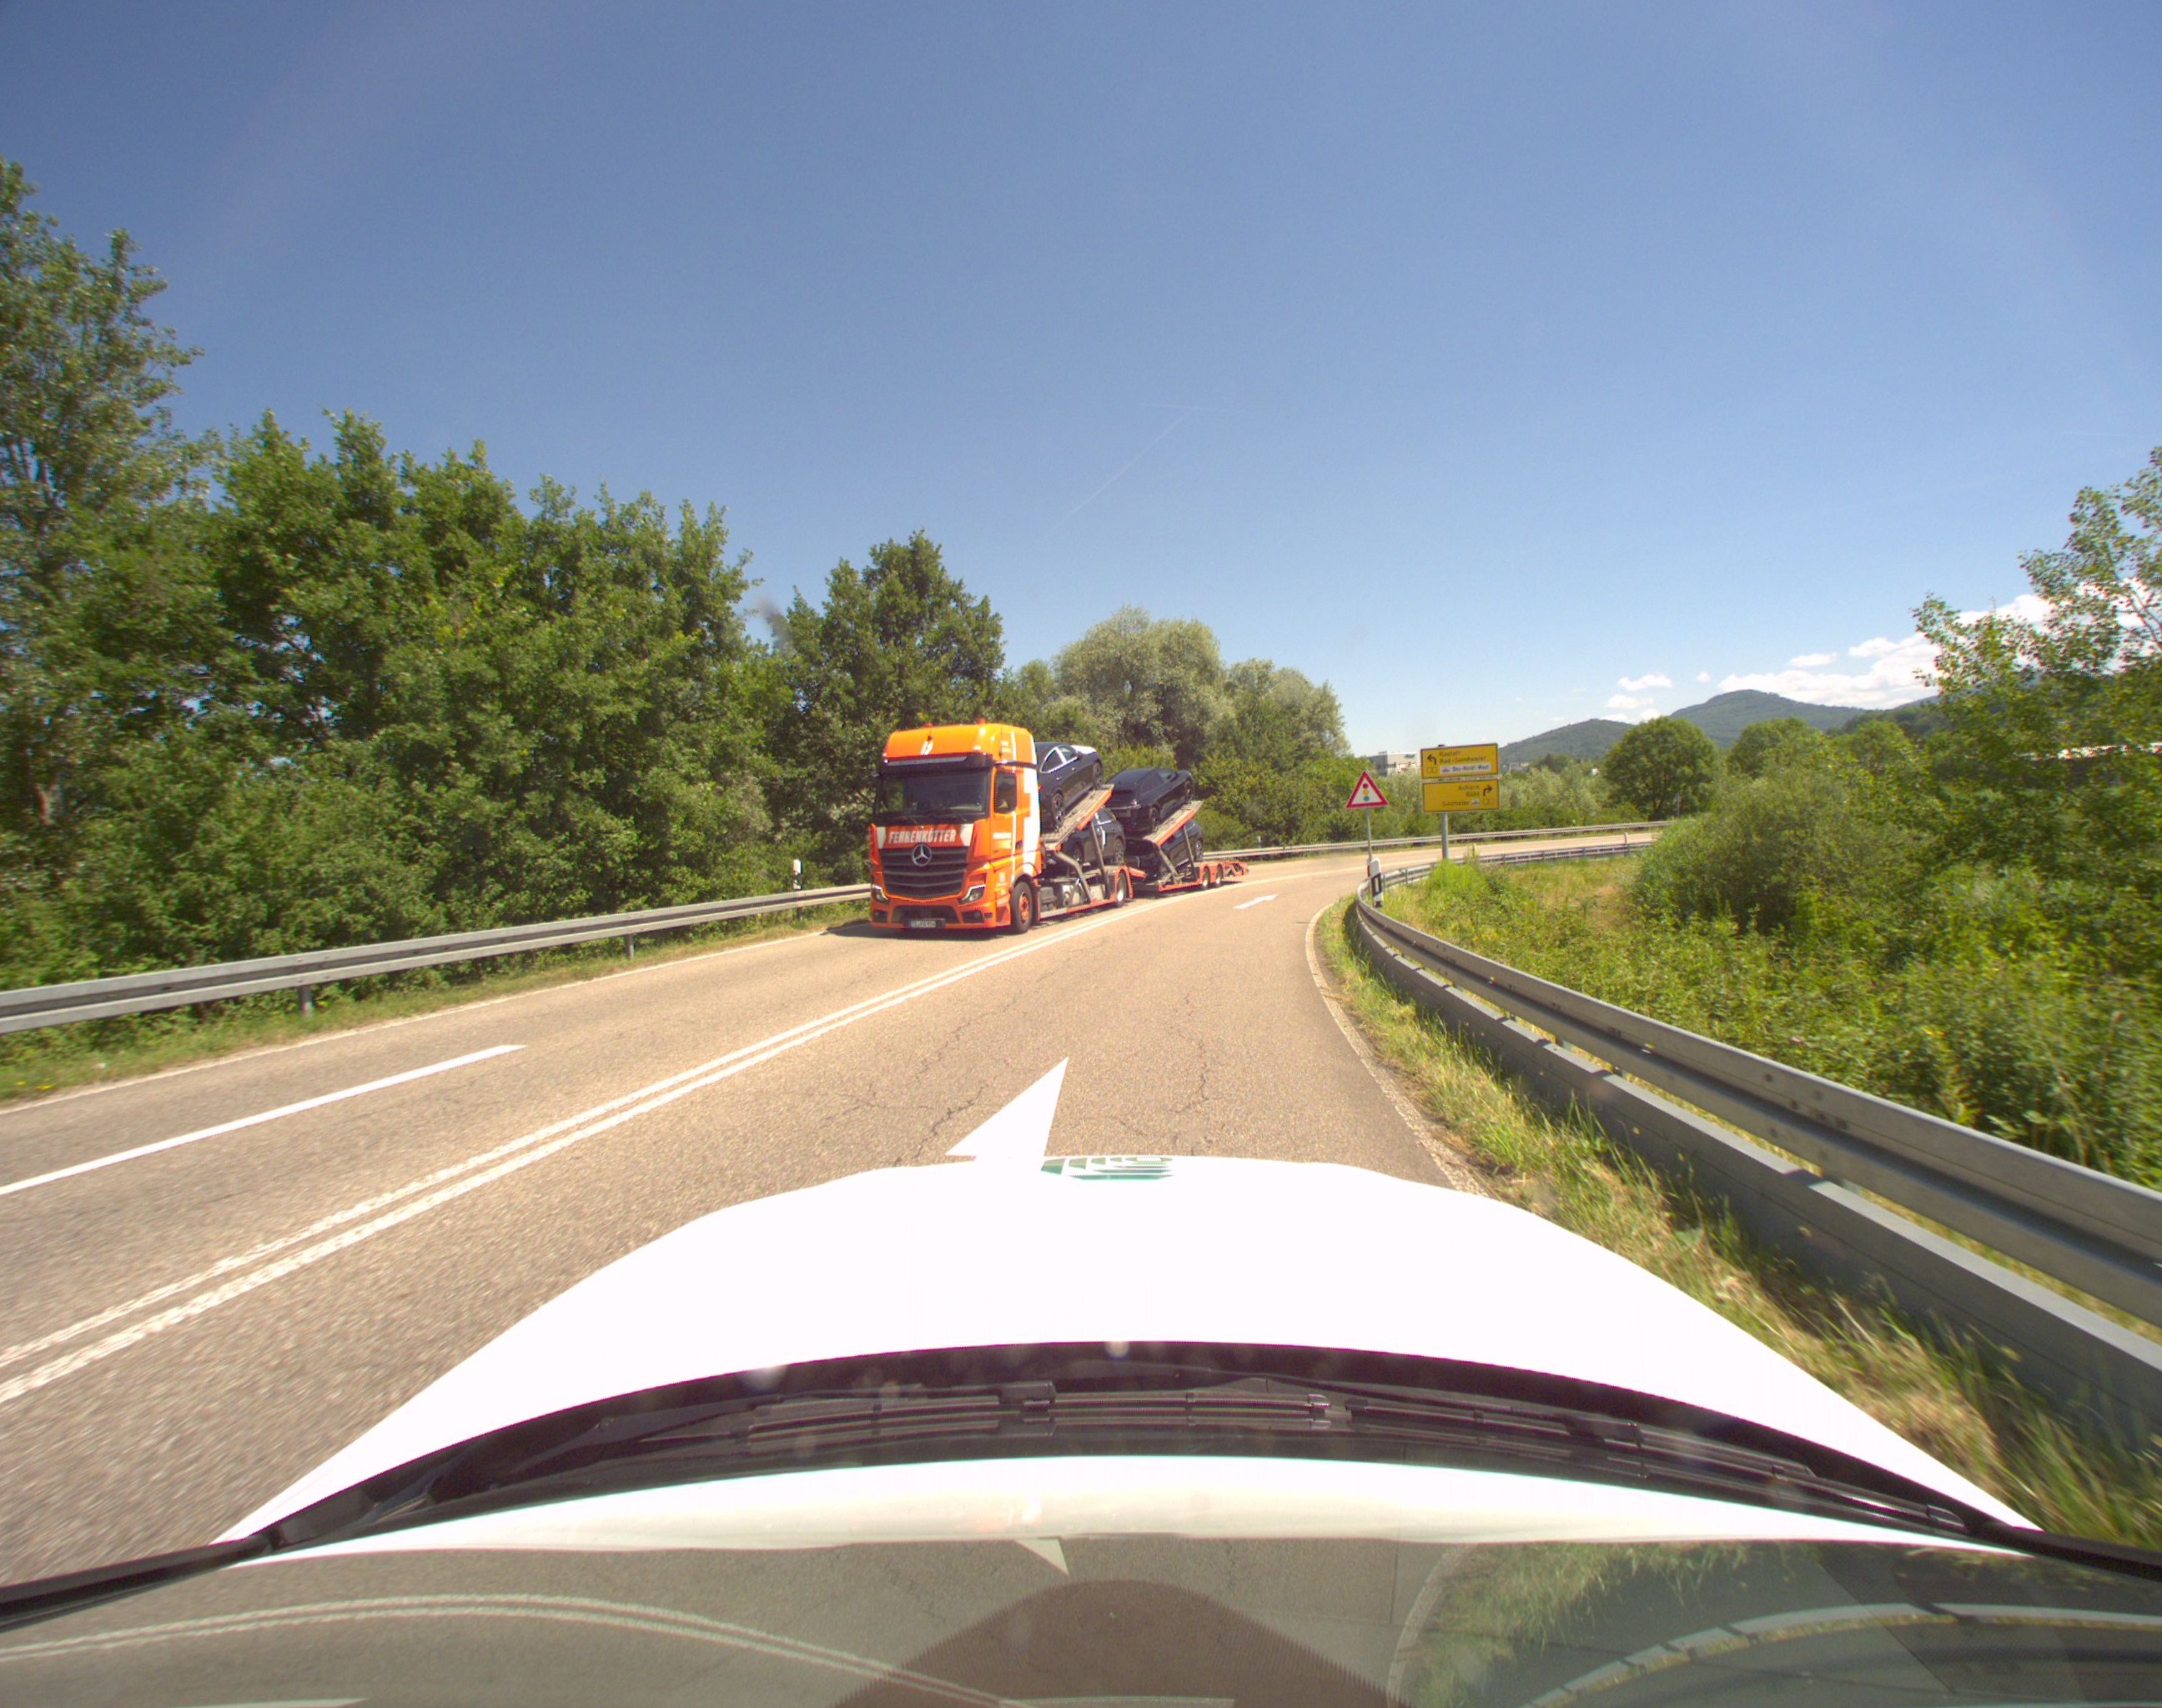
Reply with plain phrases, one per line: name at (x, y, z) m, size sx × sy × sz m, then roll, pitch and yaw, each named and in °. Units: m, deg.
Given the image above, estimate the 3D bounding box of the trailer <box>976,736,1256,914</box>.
trailer at (2.028, -0.773, 24.679) m, size 2.767 × 3.898 × 14.072 m, roll -1°, pitch 1°, yaw 27°

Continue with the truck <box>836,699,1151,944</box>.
truck at (-1.191, -0.591, 17.559) m, size 2.765 × 3.898 × 8.828 m, roll -1°, pitch 1°, yaw 22°
